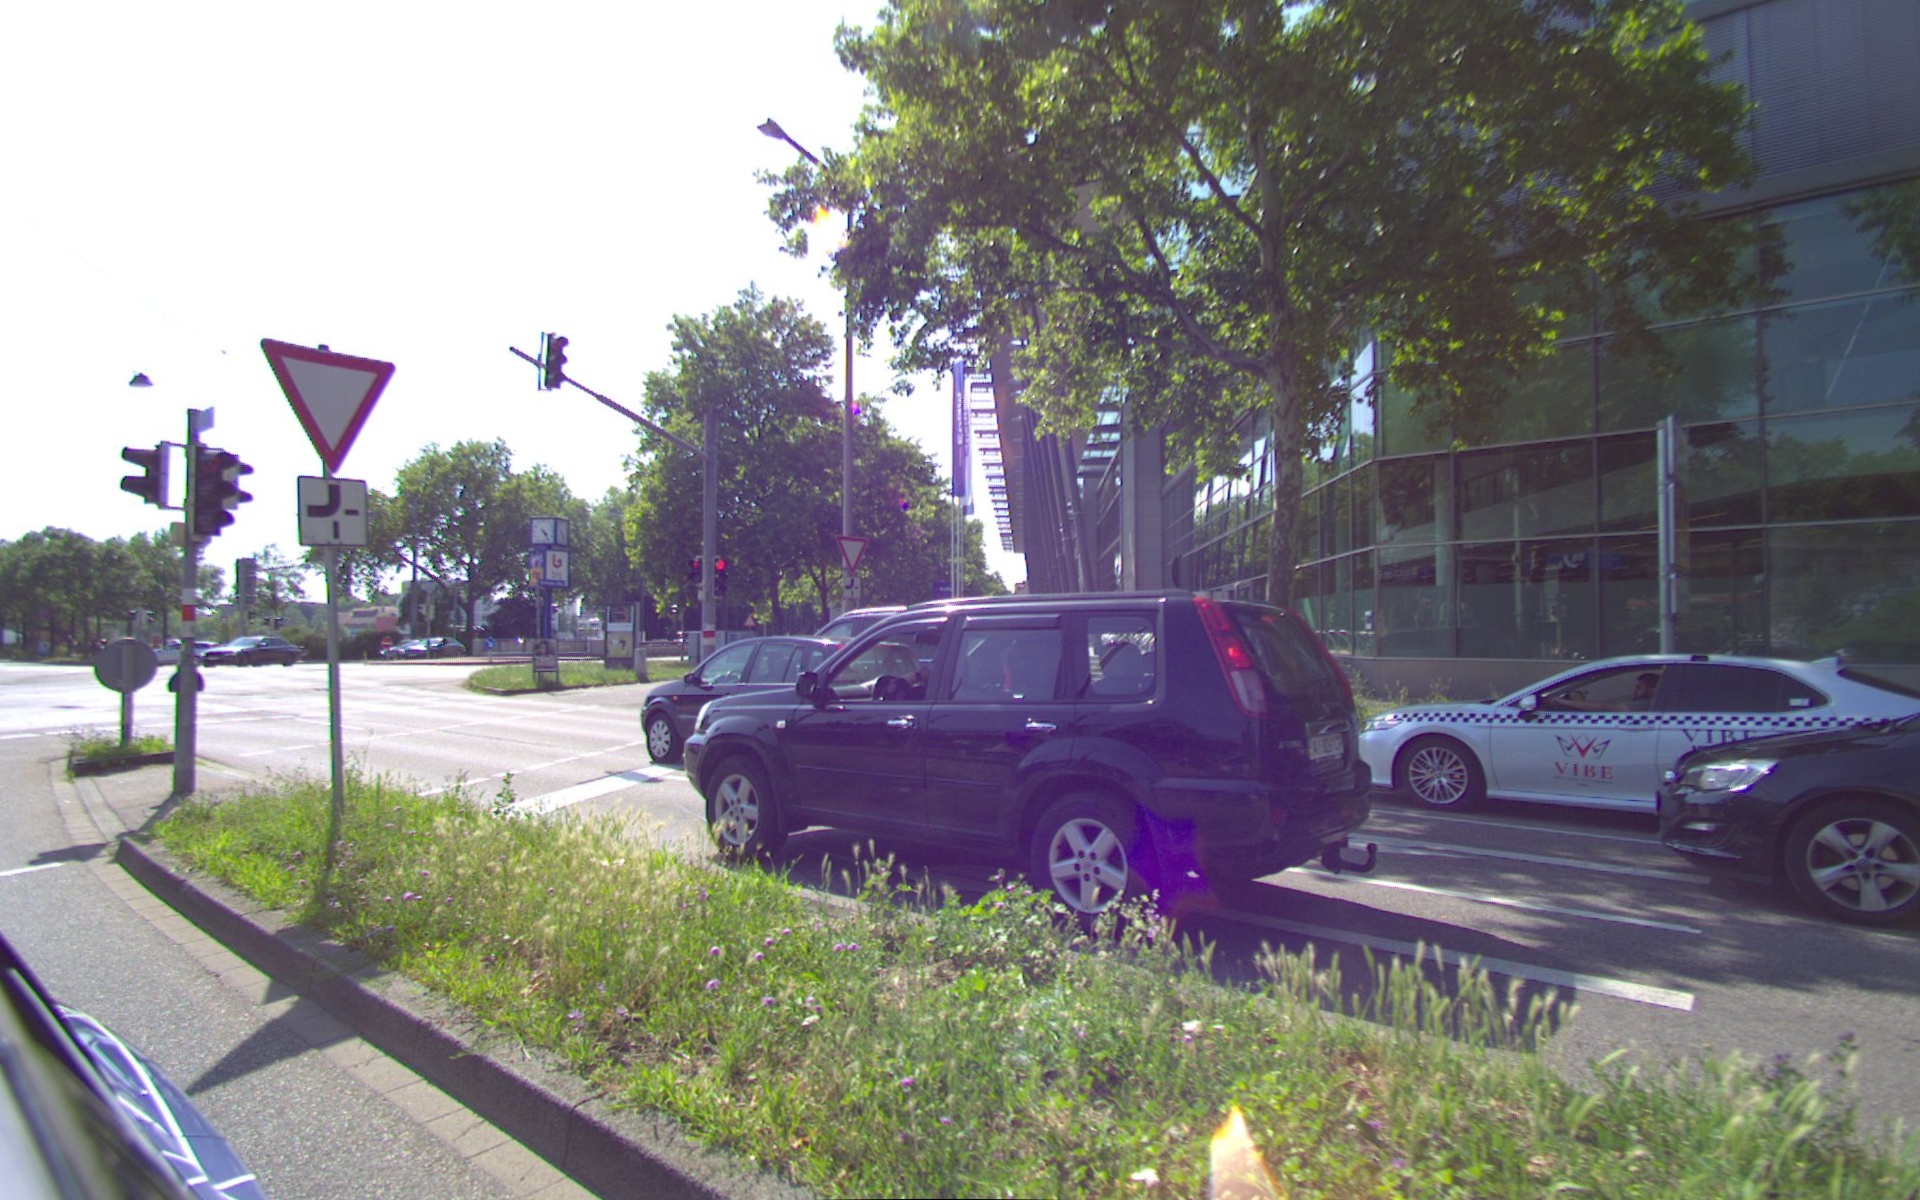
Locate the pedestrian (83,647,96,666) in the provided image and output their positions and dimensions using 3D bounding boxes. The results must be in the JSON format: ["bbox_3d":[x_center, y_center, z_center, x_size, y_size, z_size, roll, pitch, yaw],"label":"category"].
[{"bbox_3d":[-70.542,4.579,82.006,0.878,1.536,0.571,-3,-3,38],"label":"pedestrian"}]

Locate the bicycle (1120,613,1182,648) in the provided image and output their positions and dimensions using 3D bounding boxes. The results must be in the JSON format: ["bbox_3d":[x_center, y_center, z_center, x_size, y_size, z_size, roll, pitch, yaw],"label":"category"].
[{"bbox_3d":[6.194,0.995,32.865,1.860,1.119,0.739,0,-2,1],"label":"bicycle"}]

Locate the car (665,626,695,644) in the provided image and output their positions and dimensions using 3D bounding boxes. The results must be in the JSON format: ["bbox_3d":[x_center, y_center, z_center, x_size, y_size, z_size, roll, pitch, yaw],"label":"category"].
[{"bbox_3d":[-31.686,3.938,114.574,1.851,1.952,3.991,0,-2,7],"label":"car"}]

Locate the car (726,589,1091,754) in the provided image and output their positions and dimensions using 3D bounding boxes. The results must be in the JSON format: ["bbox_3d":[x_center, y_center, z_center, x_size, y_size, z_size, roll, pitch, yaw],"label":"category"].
[{"bbox_3d":[-0.901,0.981,14.311,5.222,1.934,1.919,-3,-4,39],"label":"car"}]

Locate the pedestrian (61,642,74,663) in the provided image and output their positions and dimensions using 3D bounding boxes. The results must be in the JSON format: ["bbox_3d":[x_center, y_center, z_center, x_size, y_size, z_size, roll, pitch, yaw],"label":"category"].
[{"bbox_3d":[-72.364,4.266,82.023,0.767,1.722,0.623,-3,-3,38],"label":"pedestrian"}]

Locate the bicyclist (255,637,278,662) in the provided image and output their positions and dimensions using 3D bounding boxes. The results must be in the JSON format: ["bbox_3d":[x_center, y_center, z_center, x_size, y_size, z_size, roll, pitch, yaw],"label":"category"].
[{"bbox_3d":[-40.057,2.842,58.455,0.919,1.447,0.764,-2,-3,35],"label":"bicyclist"}]

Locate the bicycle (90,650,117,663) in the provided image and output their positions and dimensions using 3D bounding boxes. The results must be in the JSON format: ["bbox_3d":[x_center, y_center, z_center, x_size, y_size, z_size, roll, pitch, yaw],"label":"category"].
[{"bbox_3d":[-70.366,4.621,83.150,2.764,1.067,0.874,-2,-3,33],"label":"bicycle"}]

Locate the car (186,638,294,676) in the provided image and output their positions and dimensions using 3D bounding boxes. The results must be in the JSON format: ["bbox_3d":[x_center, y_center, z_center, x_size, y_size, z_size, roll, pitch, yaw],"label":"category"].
[{"bbox_3d":[-33.108,2.616,46.686,1.798,1.626,3.988,-3,-3,9],"label":"car"}]

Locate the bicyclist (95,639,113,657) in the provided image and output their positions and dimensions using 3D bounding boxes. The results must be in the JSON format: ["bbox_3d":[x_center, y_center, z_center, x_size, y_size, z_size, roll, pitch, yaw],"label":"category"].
[{"bbox_3d":[-70.332,3.952,83.163,0.963,1.454,0.874,-2,-3,32],"label":"bicyclist"}]

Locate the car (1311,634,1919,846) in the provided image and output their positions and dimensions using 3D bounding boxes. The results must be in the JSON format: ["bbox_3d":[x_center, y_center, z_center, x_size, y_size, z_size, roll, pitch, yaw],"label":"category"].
[{"bbox_3d":[5.876,1.054,8.825,5.000,1.460,1.872,-2,-4,40],"label":"car"}]

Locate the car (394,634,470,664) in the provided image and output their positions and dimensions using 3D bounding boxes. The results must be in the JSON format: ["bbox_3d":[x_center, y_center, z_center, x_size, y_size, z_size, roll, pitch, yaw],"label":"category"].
[{"bbox_3d":[-31.828,2.914,61.110,1.975,1.722,4.422,-1,-2,6],"label":"car"}]

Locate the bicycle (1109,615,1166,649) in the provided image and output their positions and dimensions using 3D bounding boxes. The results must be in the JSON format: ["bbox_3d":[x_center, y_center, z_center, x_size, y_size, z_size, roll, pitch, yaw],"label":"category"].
[{"bbox_3d":[5.923,1.062,33.821,1.775,1.119,0.739,0,-2,1],"label":"bicycle"}]

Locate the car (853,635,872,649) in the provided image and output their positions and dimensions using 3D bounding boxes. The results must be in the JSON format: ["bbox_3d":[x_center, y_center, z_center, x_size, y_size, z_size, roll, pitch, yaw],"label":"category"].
[{"bbox_3d":[-12.664,5.478,131.754,1.878,1.652,3.996,-2,-3,2],"label":"car"}]

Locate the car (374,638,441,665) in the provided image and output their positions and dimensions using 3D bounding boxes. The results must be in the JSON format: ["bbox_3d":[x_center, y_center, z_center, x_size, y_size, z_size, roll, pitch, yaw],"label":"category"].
[{"bbox_3d":[-34.933,3.241,64.132,1.751,1.641,3.992,0,-2,6],"label":"car"}]

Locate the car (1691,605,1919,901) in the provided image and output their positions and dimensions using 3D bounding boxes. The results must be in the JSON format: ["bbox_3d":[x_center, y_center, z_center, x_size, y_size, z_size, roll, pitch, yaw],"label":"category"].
[{"bbox_3d":[6.395,0.786,4.891,4.513,1.473,1.817,-2,-5,40],"label":"car"}]

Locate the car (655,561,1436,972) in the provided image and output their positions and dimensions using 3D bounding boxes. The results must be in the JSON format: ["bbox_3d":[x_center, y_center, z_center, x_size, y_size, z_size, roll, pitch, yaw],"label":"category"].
[{"bbox_3d":[0.246,0.757,6.148,4.485,1.628,1.790,-2,-3,38],"label":"car"}]

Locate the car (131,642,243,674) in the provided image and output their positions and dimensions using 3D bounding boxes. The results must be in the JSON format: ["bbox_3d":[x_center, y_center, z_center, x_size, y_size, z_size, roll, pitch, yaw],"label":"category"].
[{"bbox_3d":[-47.297,3.548,62.036,5.078,1.737,2.005,-2,-3,-14],"label":"car"}]

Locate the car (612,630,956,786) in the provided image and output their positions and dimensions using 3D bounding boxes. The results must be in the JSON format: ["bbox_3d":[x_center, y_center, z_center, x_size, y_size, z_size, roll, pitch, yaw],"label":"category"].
[{"bbox_3d":[-2.121,1.118,11.619,3.953,1.487,1.744,-2,-3,39],"label":"car"}]

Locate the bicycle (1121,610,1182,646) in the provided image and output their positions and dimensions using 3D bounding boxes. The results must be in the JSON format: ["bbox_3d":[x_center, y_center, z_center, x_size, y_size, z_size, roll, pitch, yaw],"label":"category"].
[{"bbox_3d":[6.054,0.903,32.069,1.775,1.119,0.739,0,-2,1],"label":"bicycle"}]
